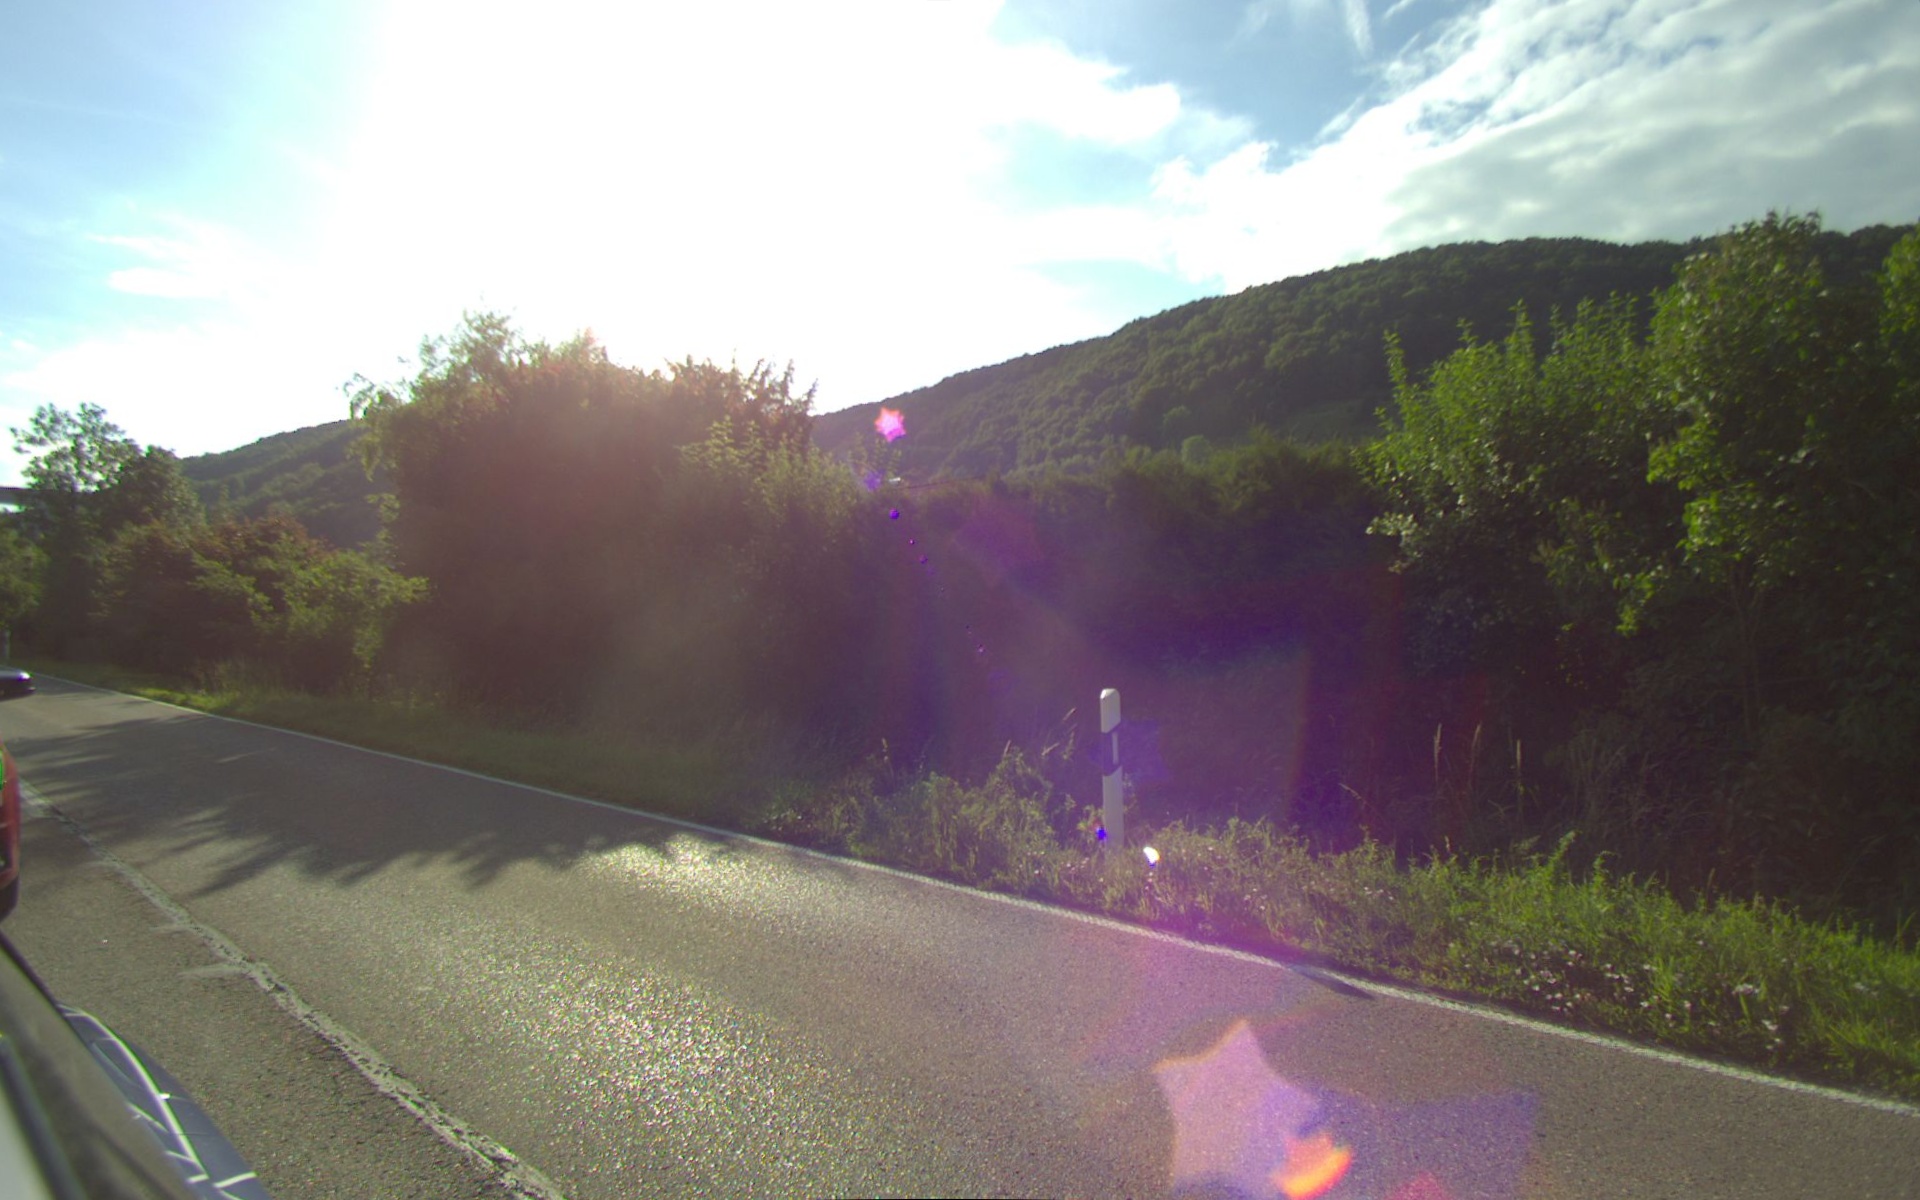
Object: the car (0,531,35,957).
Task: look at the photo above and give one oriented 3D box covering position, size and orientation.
[{"bbox_3d":[-6.231,0.668,5.166,4.286,1.823,1.731,-1,1,41],"label":"car"}]
